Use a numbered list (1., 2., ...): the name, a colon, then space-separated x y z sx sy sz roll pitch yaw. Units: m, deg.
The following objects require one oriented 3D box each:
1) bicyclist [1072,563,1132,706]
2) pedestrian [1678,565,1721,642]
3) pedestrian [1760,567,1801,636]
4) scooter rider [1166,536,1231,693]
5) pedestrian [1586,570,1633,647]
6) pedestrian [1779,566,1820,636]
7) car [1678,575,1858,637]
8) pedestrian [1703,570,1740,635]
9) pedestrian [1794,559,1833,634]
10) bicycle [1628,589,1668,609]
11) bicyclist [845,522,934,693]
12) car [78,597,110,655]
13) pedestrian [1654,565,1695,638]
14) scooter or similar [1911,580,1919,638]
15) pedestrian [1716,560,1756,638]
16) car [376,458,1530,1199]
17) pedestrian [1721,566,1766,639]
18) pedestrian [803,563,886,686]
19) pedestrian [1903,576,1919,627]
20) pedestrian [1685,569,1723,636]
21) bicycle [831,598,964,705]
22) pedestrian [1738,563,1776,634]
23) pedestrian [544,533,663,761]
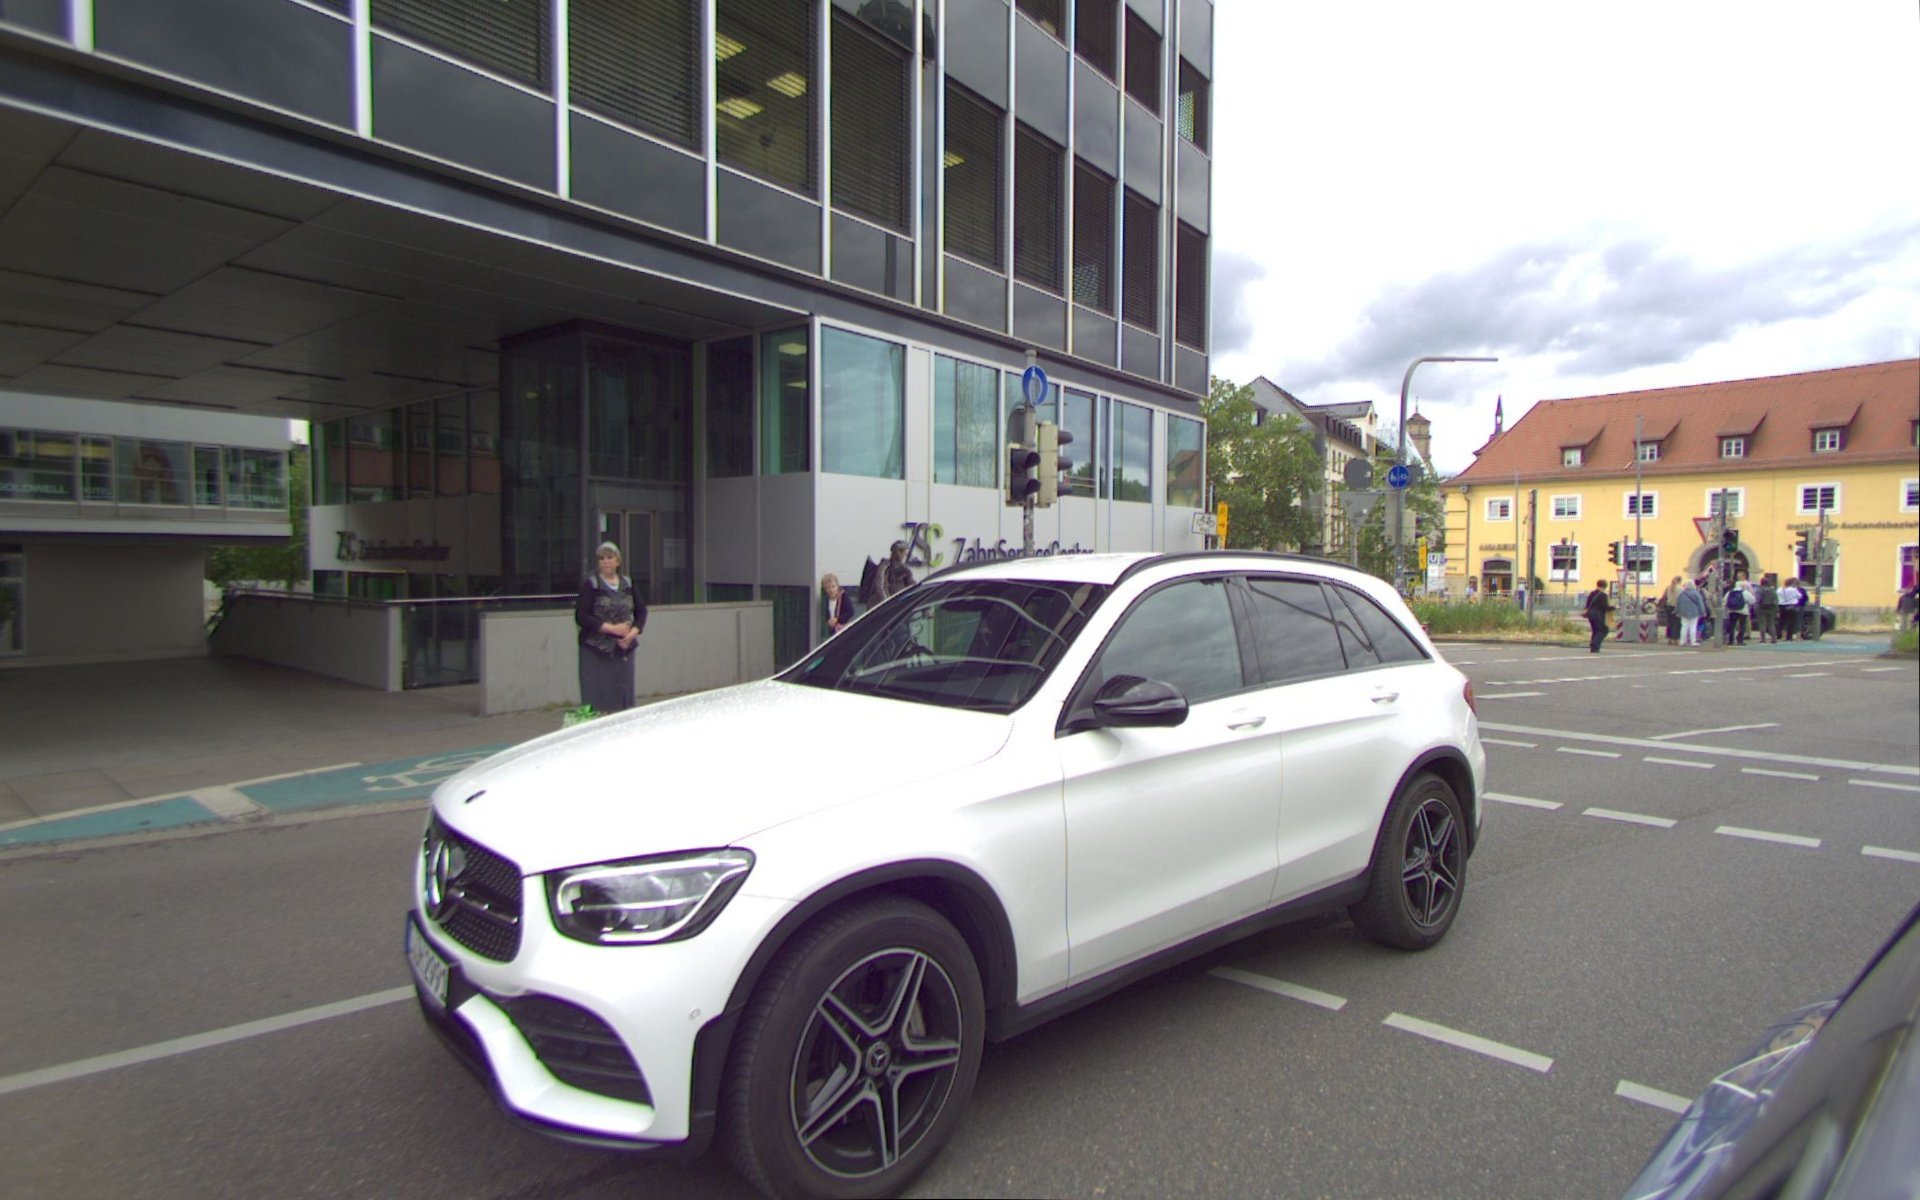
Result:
1. bicyclist: 1.655 0.367 11.702 0.557 1.568 0.843 2 2 14
2. pedestrian: 18.417 0.082 25.214 0.662 1.885 0.697 1 1 22
3. pedestrian: 21.018 0.027 25.927 0.603 1.717 0.639 1 1 20
4. scooter rider: 2.861 0.154 12.190 0.582 1.830 0.643 1 2 2
5. pedestrian: 15.038 0.185 23.440 0.794 1.718 0.543 2 2 25
6. pedestrian: 22.188 0.012 26.765 0.603 1.819 0.639 1 1 20
7. car: 23.289 0.120 29.379 3.781 1.595 1.978 2 2 32
8. pedestrian: 20.524 0.050 27.286 0.603 1.717 0.639 1 1 20
9. pedestrian: 23.068 -0.104 27.374 0.604 1.979 0.638 1 1 23
10. bicycle: 39.061 -0.075 57.468 0.610 1.099 1.772 0 2 -37
11. bicyclist: -0.811 0.061 11.565 0.662 1.868 0.814 0 3 -36
12. car: -24.684 0.725 28.843 0.449 1.618 0.598 1 1 30
13. pedestrian: 18.379 0.030 26.043 0.662 1.838 0.697 1 1 22
14. scooter or similar: 23.453 0.234 24.005 0.769 1.424 1.870 1 1 27
15. pedestrian: 20.041 -0.041 26.145 0.603 1.989 0.639 1 1 20
16. car: 0.316 0.510 3.929 4.256 1.666 1.807 0 3 -39
17. pedestrian: 19.633 0.054 25.368 0.662 1.783 0.758 1 1 22
18. pedestrian: -1.442 0.285 12.698 0.603 1.460 0.827 3 3 39
19. pedestrian: 34.647 0.044 36.473 0.739 1.811 0.827 0 1 -39
20. pedestrian: 19.449 0.054 26.452 0.603 1.717 0.639 1 1 20
21. bicycle: -0.751 0.549 11.490 0.667 1.019 1.769 2 2 -33
22. pedestrian: 21.894 -0.052 27.798 0.603 1.934 0.639 1 1 20
23. pedestrian: -2.863 0.337 8.158 0.524 1.732 0.743 4 4 38
